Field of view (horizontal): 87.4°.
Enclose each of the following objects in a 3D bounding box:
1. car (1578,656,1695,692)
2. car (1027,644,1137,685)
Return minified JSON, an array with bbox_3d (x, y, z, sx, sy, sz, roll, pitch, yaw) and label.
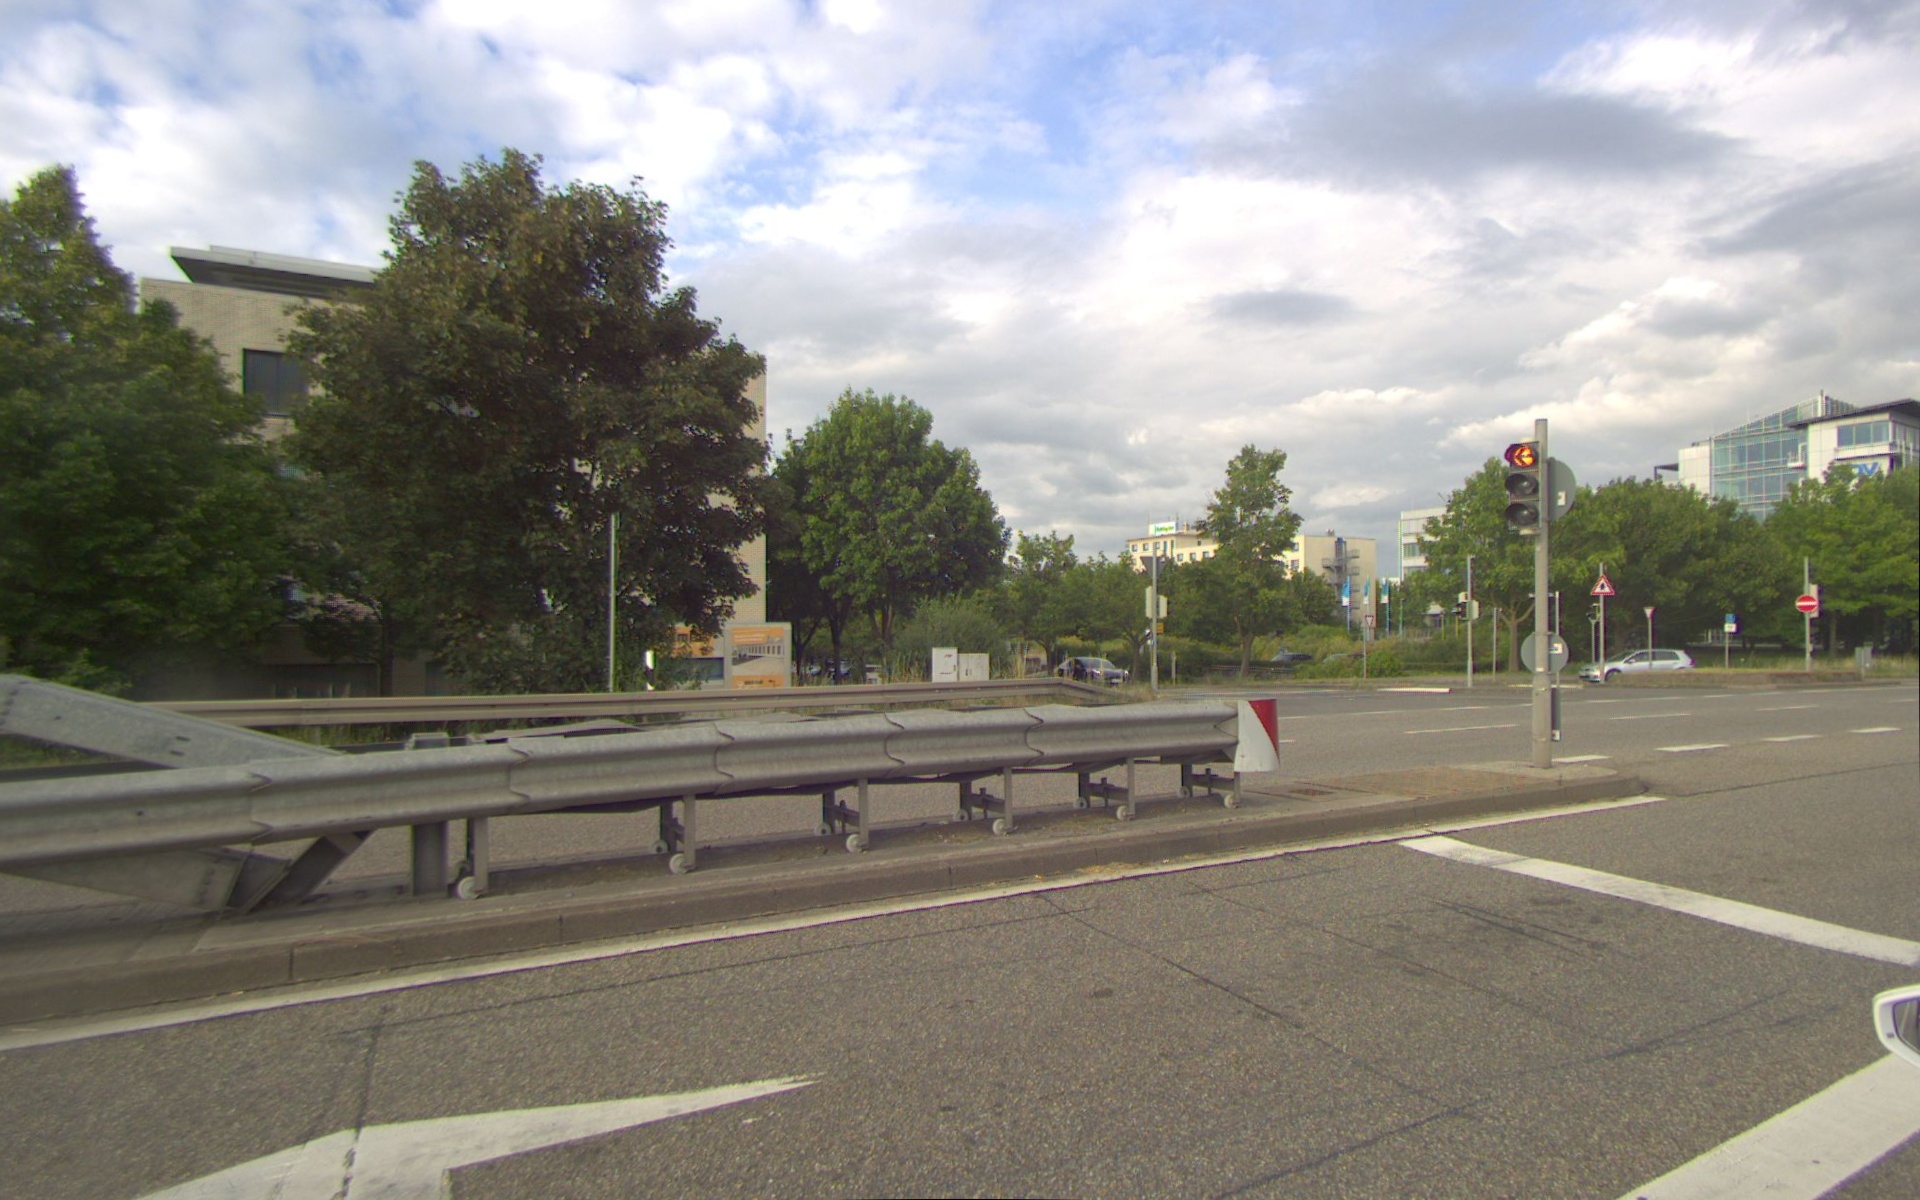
[{"bbox_3d":[28.209,3.098,42.002,3.675,1.359,1.588,-2,-4,12],"label":"car"},{"bbox_3d":[5.047,2.690,41.972,1.908,1.475,4.320,6,-5,-42],"label":"car"}]
